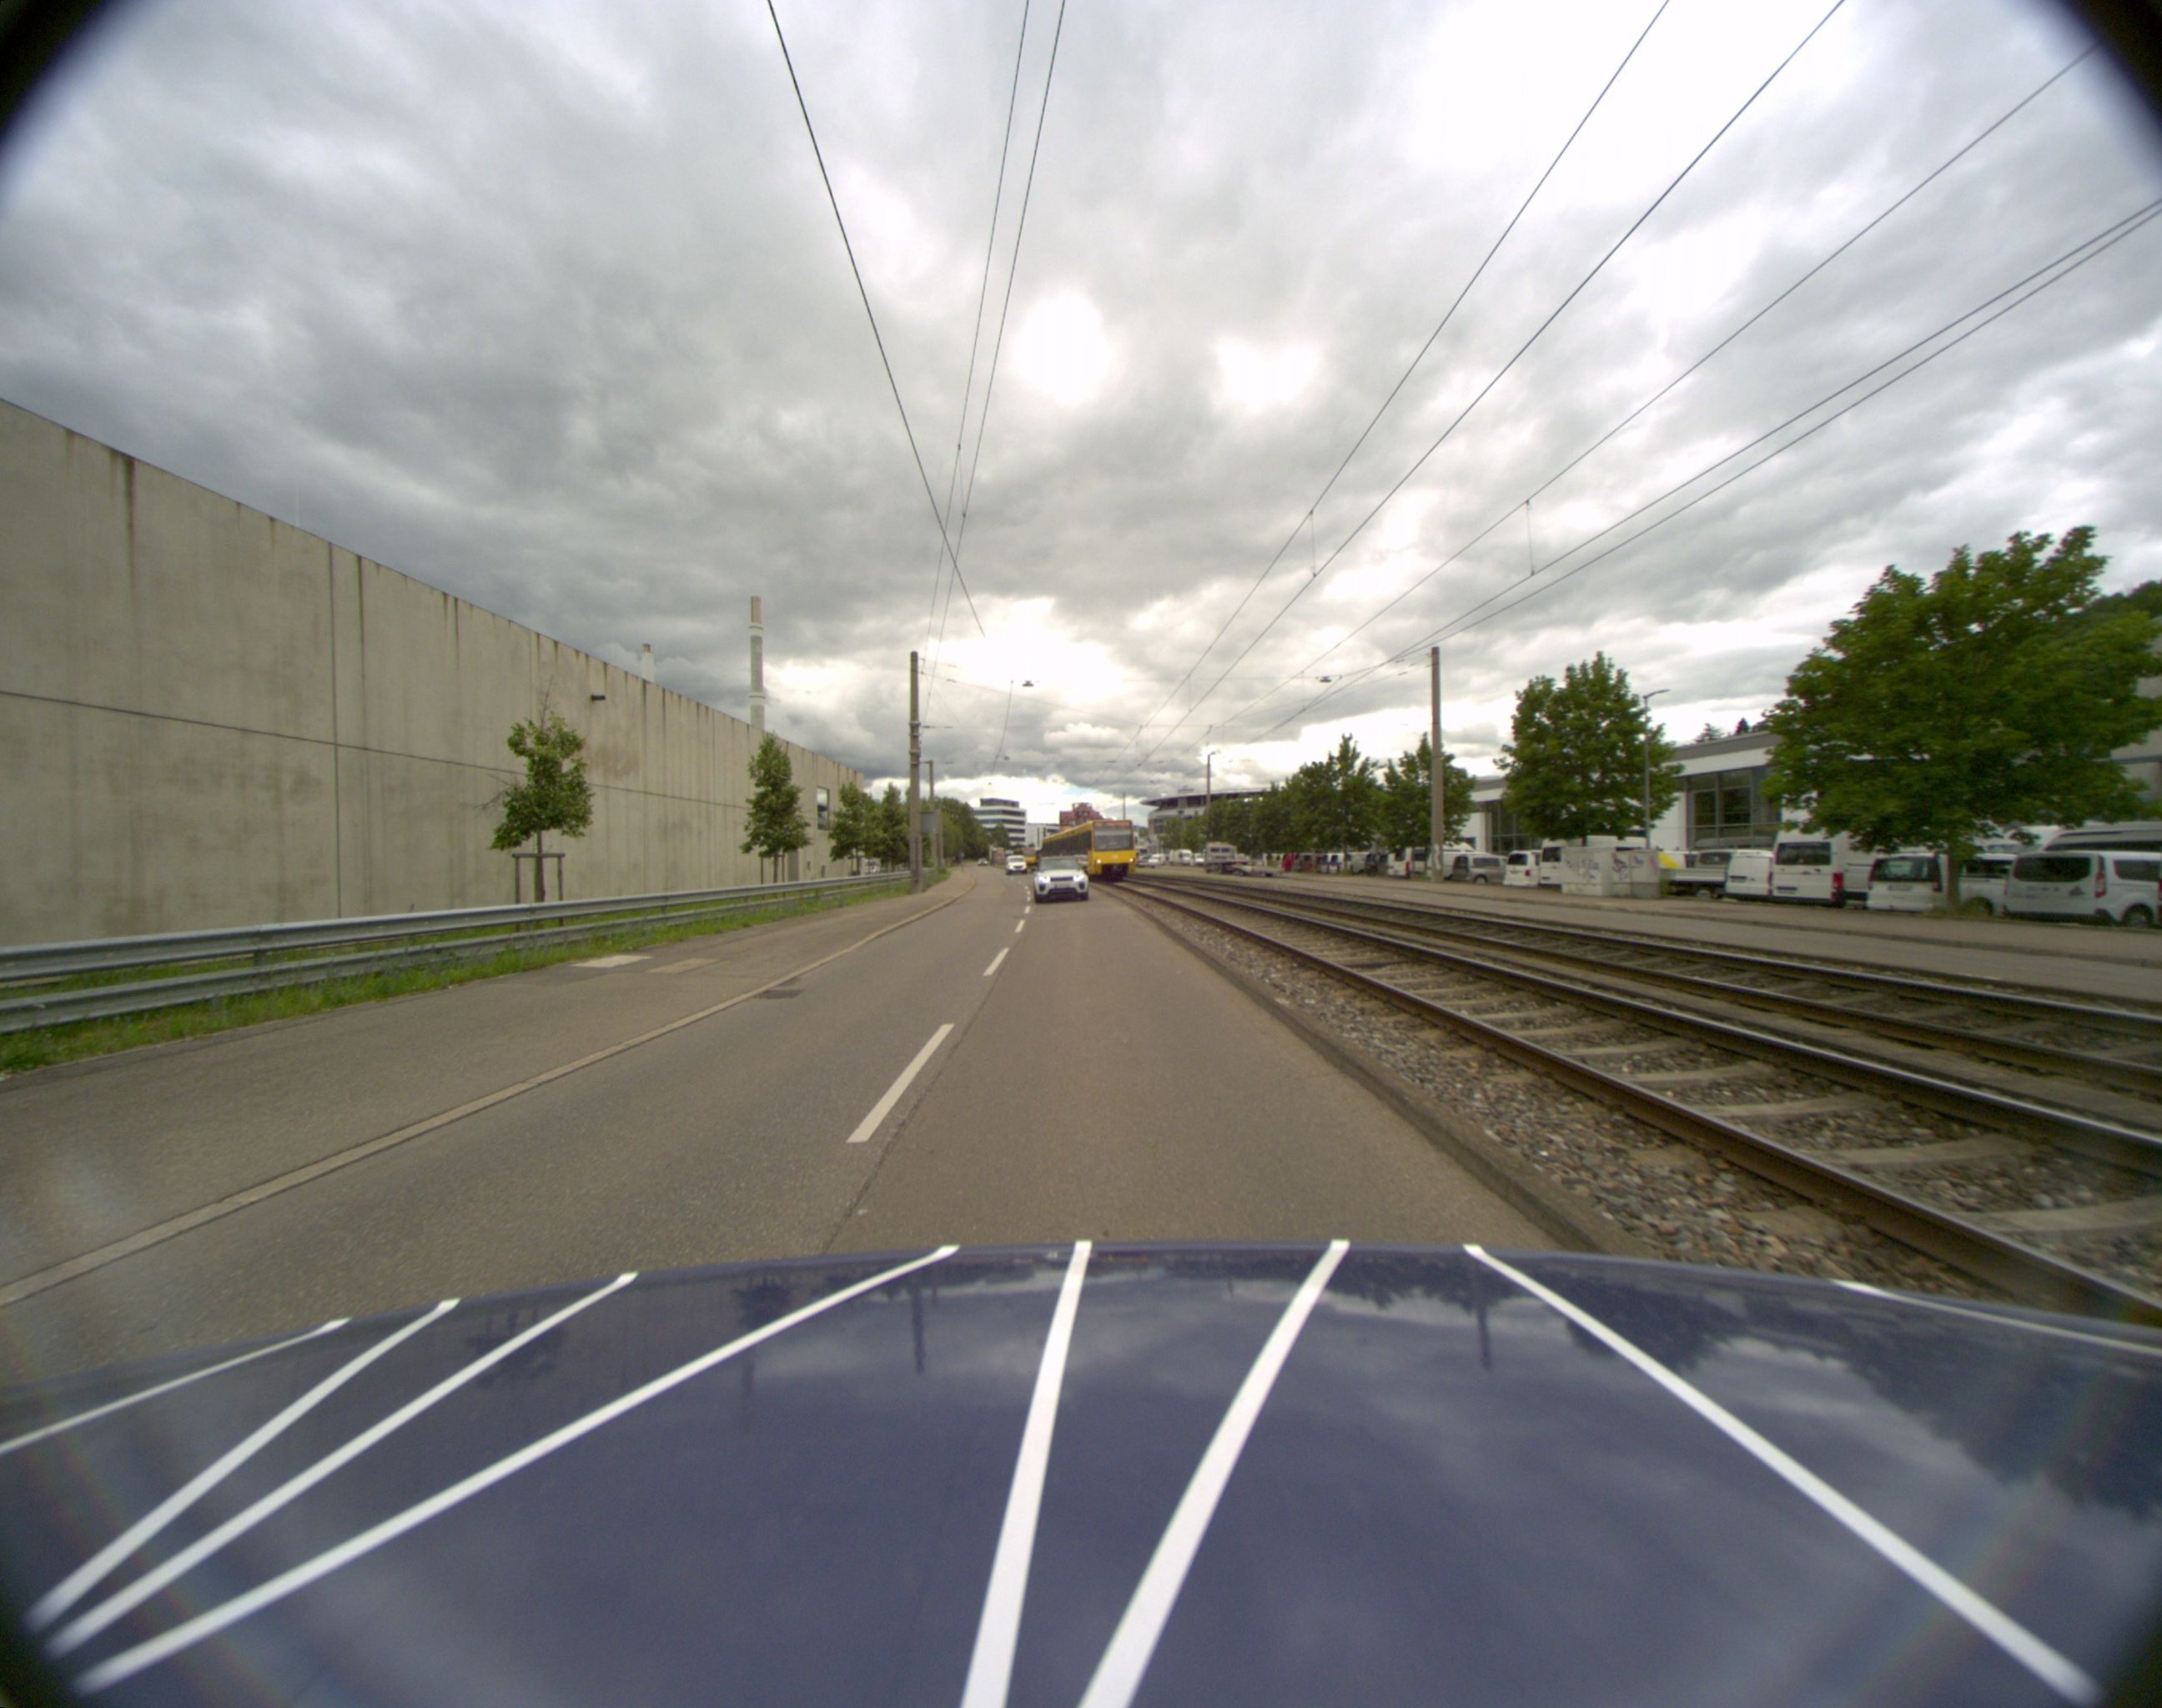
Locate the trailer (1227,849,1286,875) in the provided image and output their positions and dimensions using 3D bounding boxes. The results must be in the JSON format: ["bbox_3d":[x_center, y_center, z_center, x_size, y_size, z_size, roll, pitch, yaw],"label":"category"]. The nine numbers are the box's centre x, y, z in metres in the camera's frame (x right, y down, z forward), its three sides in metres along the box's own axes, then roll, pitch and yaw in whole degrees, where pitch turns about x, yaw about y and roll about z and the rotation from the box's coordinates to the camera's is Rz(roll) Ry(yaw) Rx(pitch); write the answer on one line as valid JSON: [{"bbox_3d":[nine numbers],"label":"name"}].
[{"bbox_3d":[12.692,0.539,55.518,2.389,1.688,6.946,1,0,-2],"label":"trailer"}]

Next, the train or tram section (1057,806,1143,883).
[{"bbox_3d":[0.764,-0.593,49.450,3.398,3.984,16.933,-3,1,-6],"label":"train or tram section"}]

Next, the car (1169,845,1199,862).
[{"bbox_3d":[15.467,-0.060,114.529,2.001,2.546,5.854,-1,0,-18],"label":"car"}]

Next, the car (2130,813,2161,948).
[{"bbox_3d":[23.435,0.453,13.871,5.486,2.587,2.246,-1,0,0],"label":"car"}]

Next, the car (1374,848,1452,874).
[{"bbox_3d":[22.292,0.469,51.164,4.376,1.608,2.004,-1,0,1],"label":"car"}]

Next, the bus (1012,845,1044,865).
[{"bbox_3d":[-11.221,0.114,158.176,3.564,3.930,10.473,-3,2,-21],"label":"bus"}]

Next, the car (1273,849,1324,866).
[{"bbox_3d":[21.318,0.317,74.529,4.356,1.608,2.120,-1,0,1],"label":"car"}]

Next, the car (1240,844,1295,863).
[{"bbox_3d":[20.416,-0.046,83.016,5.702,1.996,2.146,0,0,18],"label":"car"}]

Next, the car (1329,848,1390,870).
[{"bbox_3d":[21.387,0.404,58.456,3.996,1.608,2.000,-1,0,1],"label":"car"}]

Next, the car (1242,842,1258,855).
[{"bbox_3d":[27.861,-0.898,125.139,1.995,2.002,4.006,-1,0,20],"label":"car"}]

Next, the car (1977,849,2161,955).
[{"bbox_3d":[22.825,0.972,16.590,4.378,2.093,2.003,-1,0,-4],"label":"car"}]

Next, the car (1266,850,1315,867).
[{"bbox_3d":[21.288,0.416,77.255,4.347,1.608,2.154,-1,0,1],"label":"car"}]

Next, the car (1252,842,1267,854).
[{"bbox_3d":[29.648,-0.975,125.937,1.995,2.002,4.005,-1,0,20],"label":"car"}]

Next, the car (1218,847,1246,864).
[{"bbox_3d":[18.019,0.171,90.979,1.999,2.002,4.858,-1,0,-5],"label":"car"}]

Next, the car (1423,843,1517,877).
[{"bbox_3d":[22.284,0.363,43.624,4.376,1.834,2.004,-1,0,1],"label":"car"}]

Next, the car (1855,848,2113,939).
[{"bbox_3d":[22.608,0.937,19.140,4.378,2.093,2.003,-1,0,-4],"label":"car"}]

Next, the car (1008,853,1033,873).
[{"bbox_3d":[-5.906,0.838,73.619,2.000,1.881,4.622,-1,0,-10],"label":"car"}]

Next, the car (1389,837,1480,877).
[{"bbox_3d":[21.322,0.157,45.997,4.507,2.298,2.125,-1,0,1],"label":"car"}]

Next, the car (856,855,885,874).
[{"bbox_3d":[-18.397,0.901,66.574,1.755,1.564,4.427,-3,0,-8],"label":"car"}]

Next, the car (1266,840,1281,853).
[{"bbox_3d":[31.668,-1.222,125.203,1.995,2.002,4.005,-1,0,20],"label":"car"}]

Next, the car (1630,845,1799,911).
[{"bbox_3d":[22.121,0.803,26.628,4.378,2.160,2.003,-1,0,-4],"label":"car"}]

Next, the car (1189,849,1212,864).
[{"bbox_3d":[16.980,0.360,107.957,2.000,2.002,4.804,-1,0,-7],"label":"car"}]

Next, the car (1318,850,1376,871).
[{"bbox_3d":[21.452,0.509,61.457,3.996,1.608,2.000,-1,0,1],"label":"car"}]

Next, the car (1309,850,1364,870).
[{"bbox_3d":[21.462,0.516,63.935,3.996,1.608,2.000,-1,0,1],"label":"car"}]

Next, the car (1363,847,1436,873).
[{"bbox_3d":[22.484,0.414,53.762,4.376,1.676,2.004,-1,0,1],"label":"car"}]

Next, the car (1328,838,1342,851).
[{"bbox_3d":[40.679,-1.487,121.487,1.995,2.002,4.005,-1,0,20],"label":"car"}]

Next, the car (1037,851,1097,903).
[{"bbox_3d":[-0.566,0.800,28.109,1.999,1.718,3.999,-3,0,-3],"label":"car"}]

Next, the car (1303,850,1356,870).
[{"bbox_3d":[21.587,0.521,66.142,3.996,1.608,2.000,-1,0,1],"label":"car"}]

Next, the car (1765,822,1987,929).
[{"bbox_3d":[22.354,0.581,21.475,4.378,2.802,2.003,-1,0,-4],"label":"car"}]

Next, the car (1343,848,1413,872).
[{"bbox_3d":[21.830,0.445,55.931,4.377,1.608,2.004,-1,0,0],"label":"car"}]

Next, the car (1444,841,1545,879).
[{"bbox_3d":[22.424,0.302,41.333,4.376,1.936,2.004,-1,0,1],"label":"car"}]

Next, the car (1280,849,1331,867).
[{"bbox_3d":[21.096,0.340,71.364,4.188,1.608,2.063,-1,0,1],"label":"car"}]

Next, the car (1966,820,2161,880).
[{"bbox_3d":[35.114,-0.140,27.019,4.855,2.002,2.000,-1,0,2],"label":"car"}]

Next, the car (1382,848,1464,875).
[{"bbox_3d":[21.956,0.473,48.902,4.378,1.679,2.030,-1,0,-3],"label":"car"}]

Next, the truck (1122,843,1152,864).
[{"bbox_3d":[8.142,-0.049,111.686,2.872,2.964,8.450,1,0,-6],"label":"truck"}]

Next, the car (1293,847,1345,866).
[{"bbox_3d":[21.427,0.206,68.545,3.996,1.655,2.048,-1,0,1],"label":"car"}]

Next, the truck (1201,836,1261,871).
[{"bbox_3d":[12.378,-0.077,63.534,2.764,2.726,9.215,1,1,-3],"label":"truck"}]

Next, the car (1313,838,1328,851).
[{"bbox_3d":[38.634,-1.509,122.495,1.995,2.002,4.005,-1,0,20],"label":"car"}]

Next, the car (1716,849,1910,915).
[{"bbox_3d":[23.082,0.845,24.052,4.378,1.899,2.003,-1,0,-4],"label":"car"}]

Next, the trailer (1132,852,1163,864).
[{"bbox_3d":[9.032,0.574,103.890,2.766,1.486,7.221,1,0,-6],"label":"trailer"}]

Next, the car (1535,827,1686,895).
[{"bbox_3d":[22.169,0.283,31.927,4.980,2.683,2.114,-1,0,-4],"label":"car"}]

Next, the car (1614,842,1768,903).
[{"bbox_3d":[23.289,0.671,29.105,4.378,2.160,2.003,-1,0,-4],"label":"car"}]

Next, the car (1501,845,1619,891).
[{"bbox_3d":[22.540,0.635,35.864,4.378,1.999,2.003,-1,0,-4],"label":"car"}]
